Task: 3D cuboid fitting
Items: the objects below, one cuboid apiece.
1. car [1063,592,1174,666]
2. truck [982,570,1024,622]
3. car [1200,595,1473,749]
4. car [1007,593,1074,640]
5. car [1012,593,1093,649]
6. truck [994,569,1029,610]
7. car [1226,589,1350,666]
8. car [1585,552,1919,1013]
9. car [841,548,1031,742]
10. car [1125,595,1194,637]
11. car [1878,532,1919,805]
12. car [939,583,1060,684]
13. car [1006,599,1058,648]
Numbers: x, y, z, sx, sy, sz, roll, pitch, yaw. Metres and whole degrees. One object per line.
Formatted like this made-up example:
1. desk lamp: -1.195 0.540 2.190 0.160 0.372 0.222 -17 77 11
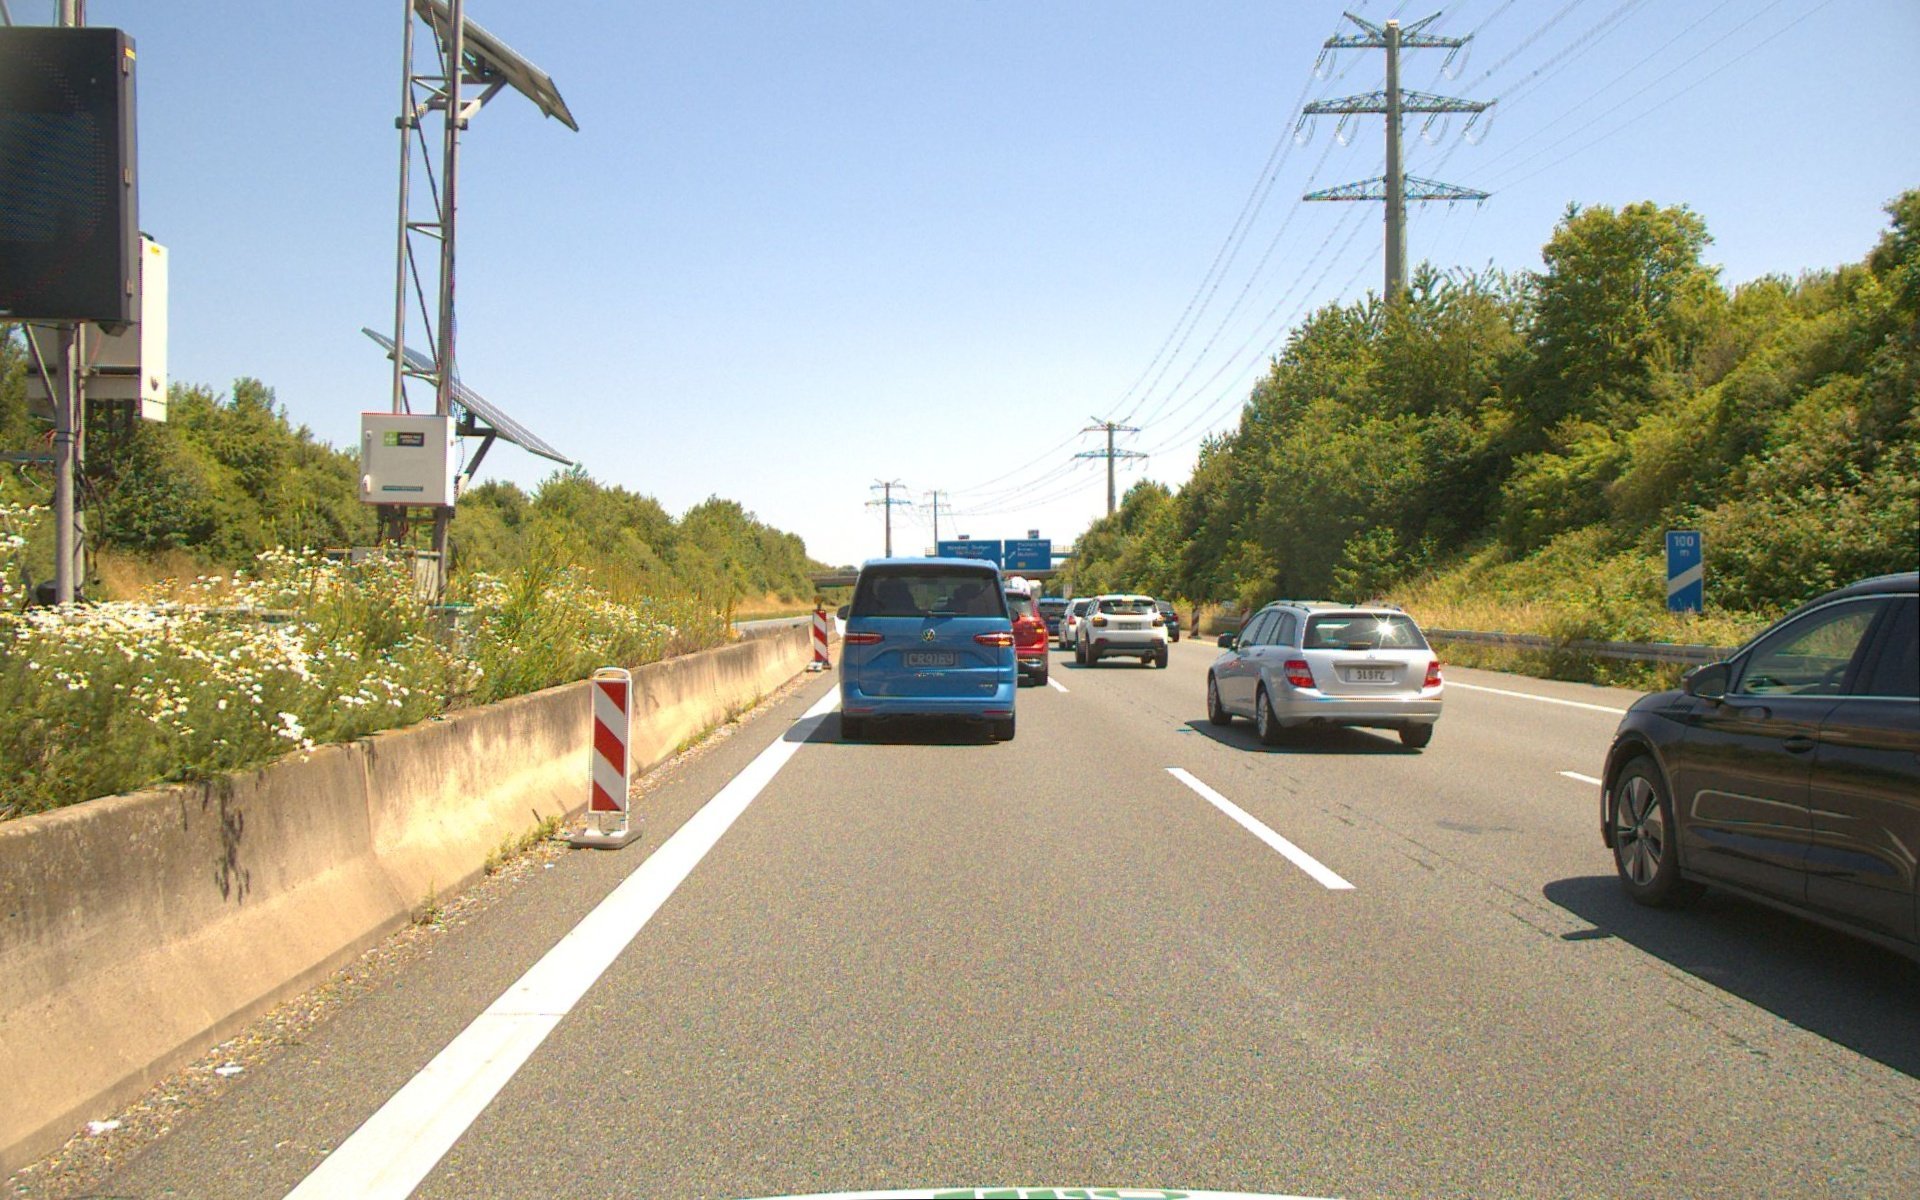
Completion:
1. car: 3.451 0.598 36.686 1.870 1.534 3.919 1 0 -3
2. truck: 2.380 -0.218 92.488 1.953 2.771 5.677 1 0 -2
3. car: 3.965 0.691 18.204 1.785 1.462 4.381 1 0 -3
4. car: 2.781 0.550 57.773 1.870 1.542 4.381 1 0 -3
5. car: 2.651 0.586 48.452 1.870 1.542 4.381 1 0 -3
6. truck: 5.447 -1.121 179.111 2.591 4.143 16.433 1 0 -2
7. car: 6.807 0.529 34.729 1.705 1.496 4.013 1 0 -2
8. car: 4.296 0.663 6.613 1.791 1.643 4.429 1 0 -2
9. car: -0.396 0.446 18.758 1.834 1.912 4.379 1 0 -5
10. car: 7.059 0.542 58.814 1.700 1.402 4.300 1 0 -3
11. car: 7.760 0.508 9.949 1.748 1.937 4.697 1 0 -2
12. car: 0.628 0.552 29.548 1.870 1.659 4.381 0 0 -2
13. car: 3.149 1.018 73.037 1.953 2.049 3.999 1 0 -2
